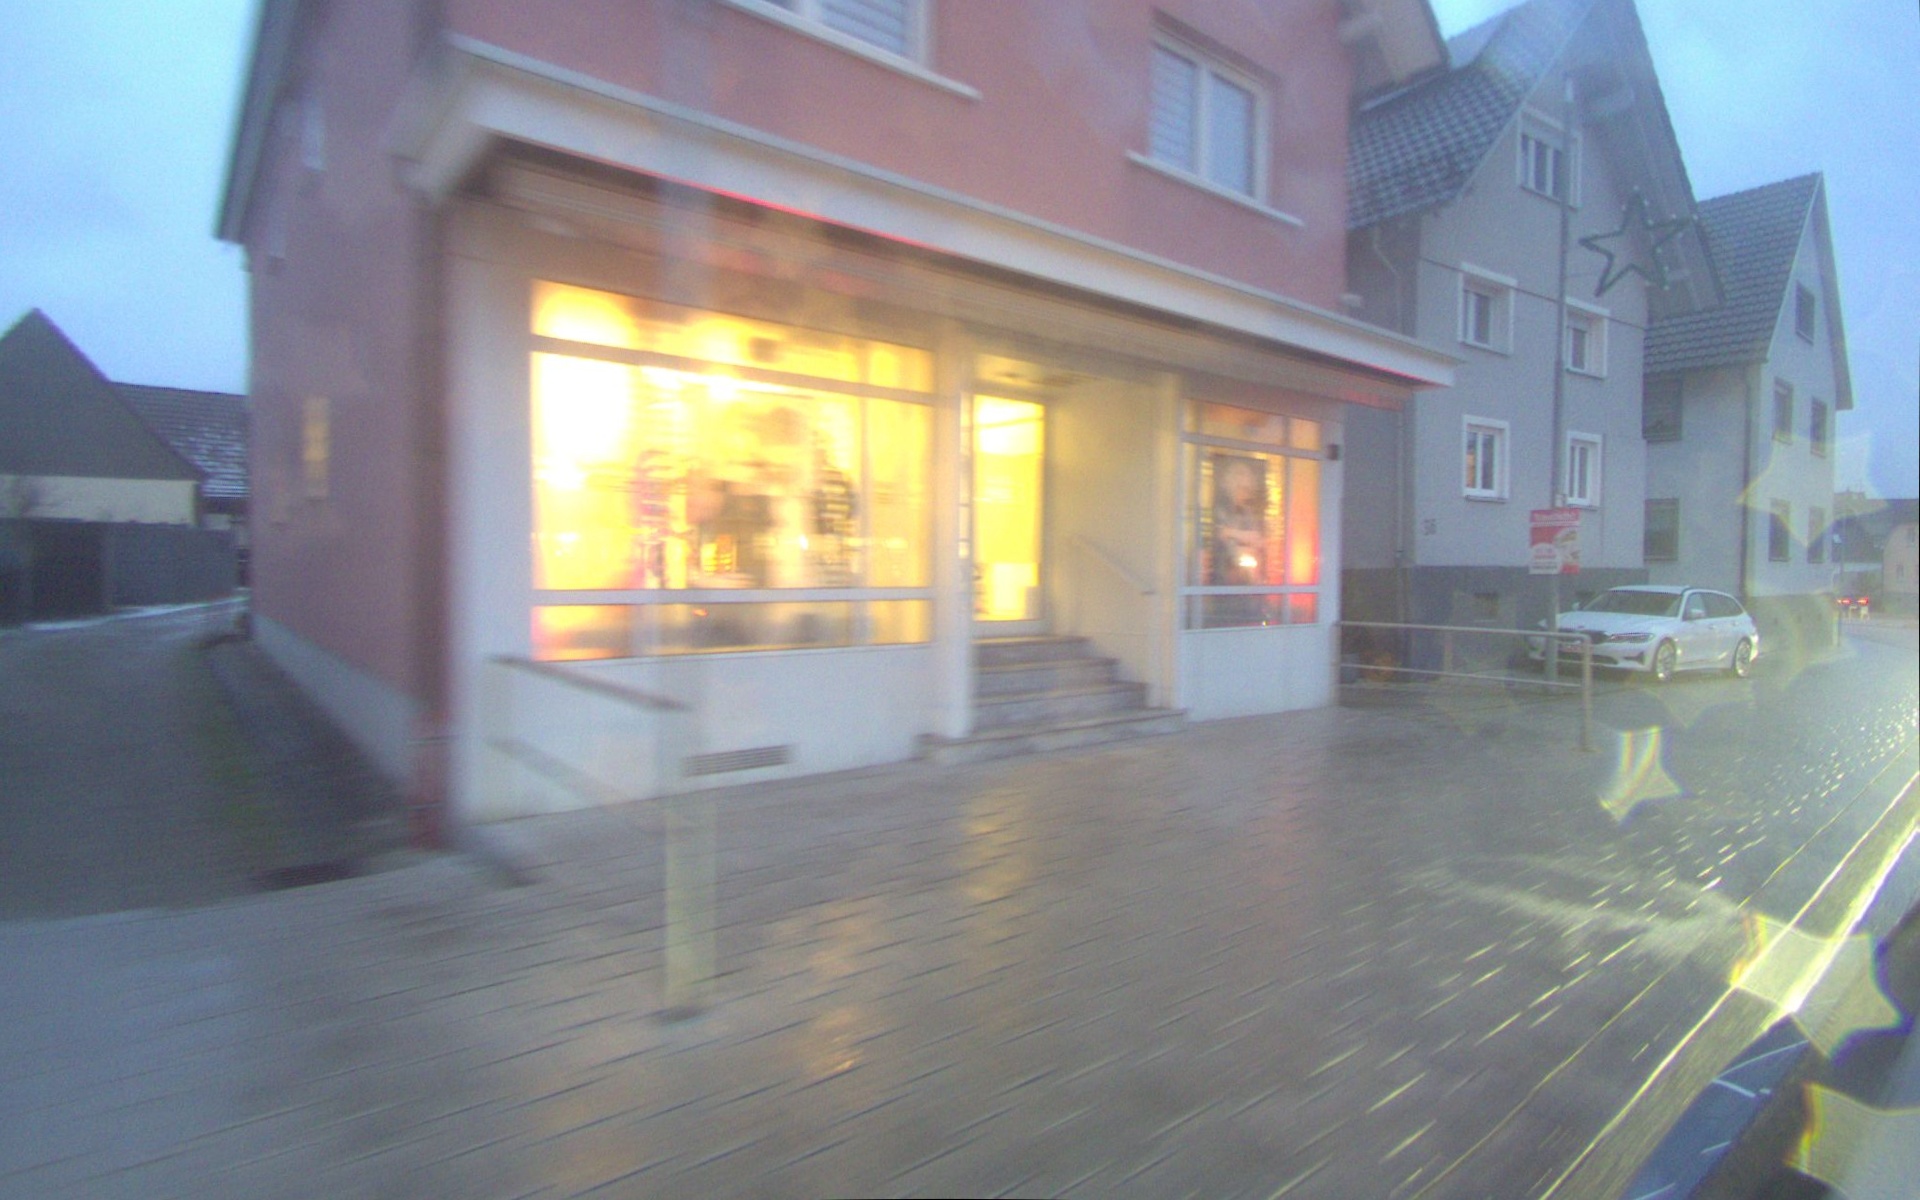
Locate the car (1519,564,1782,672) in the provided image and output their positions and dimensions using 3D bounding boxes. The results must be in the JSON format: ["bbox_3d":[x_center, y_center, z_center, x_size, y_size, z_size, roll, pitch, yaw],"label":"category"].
[{"bbox_3d":[11.269,0.202,16.422,4.606,1.504,1.936,-2,1,-34],"label":"car"}]
